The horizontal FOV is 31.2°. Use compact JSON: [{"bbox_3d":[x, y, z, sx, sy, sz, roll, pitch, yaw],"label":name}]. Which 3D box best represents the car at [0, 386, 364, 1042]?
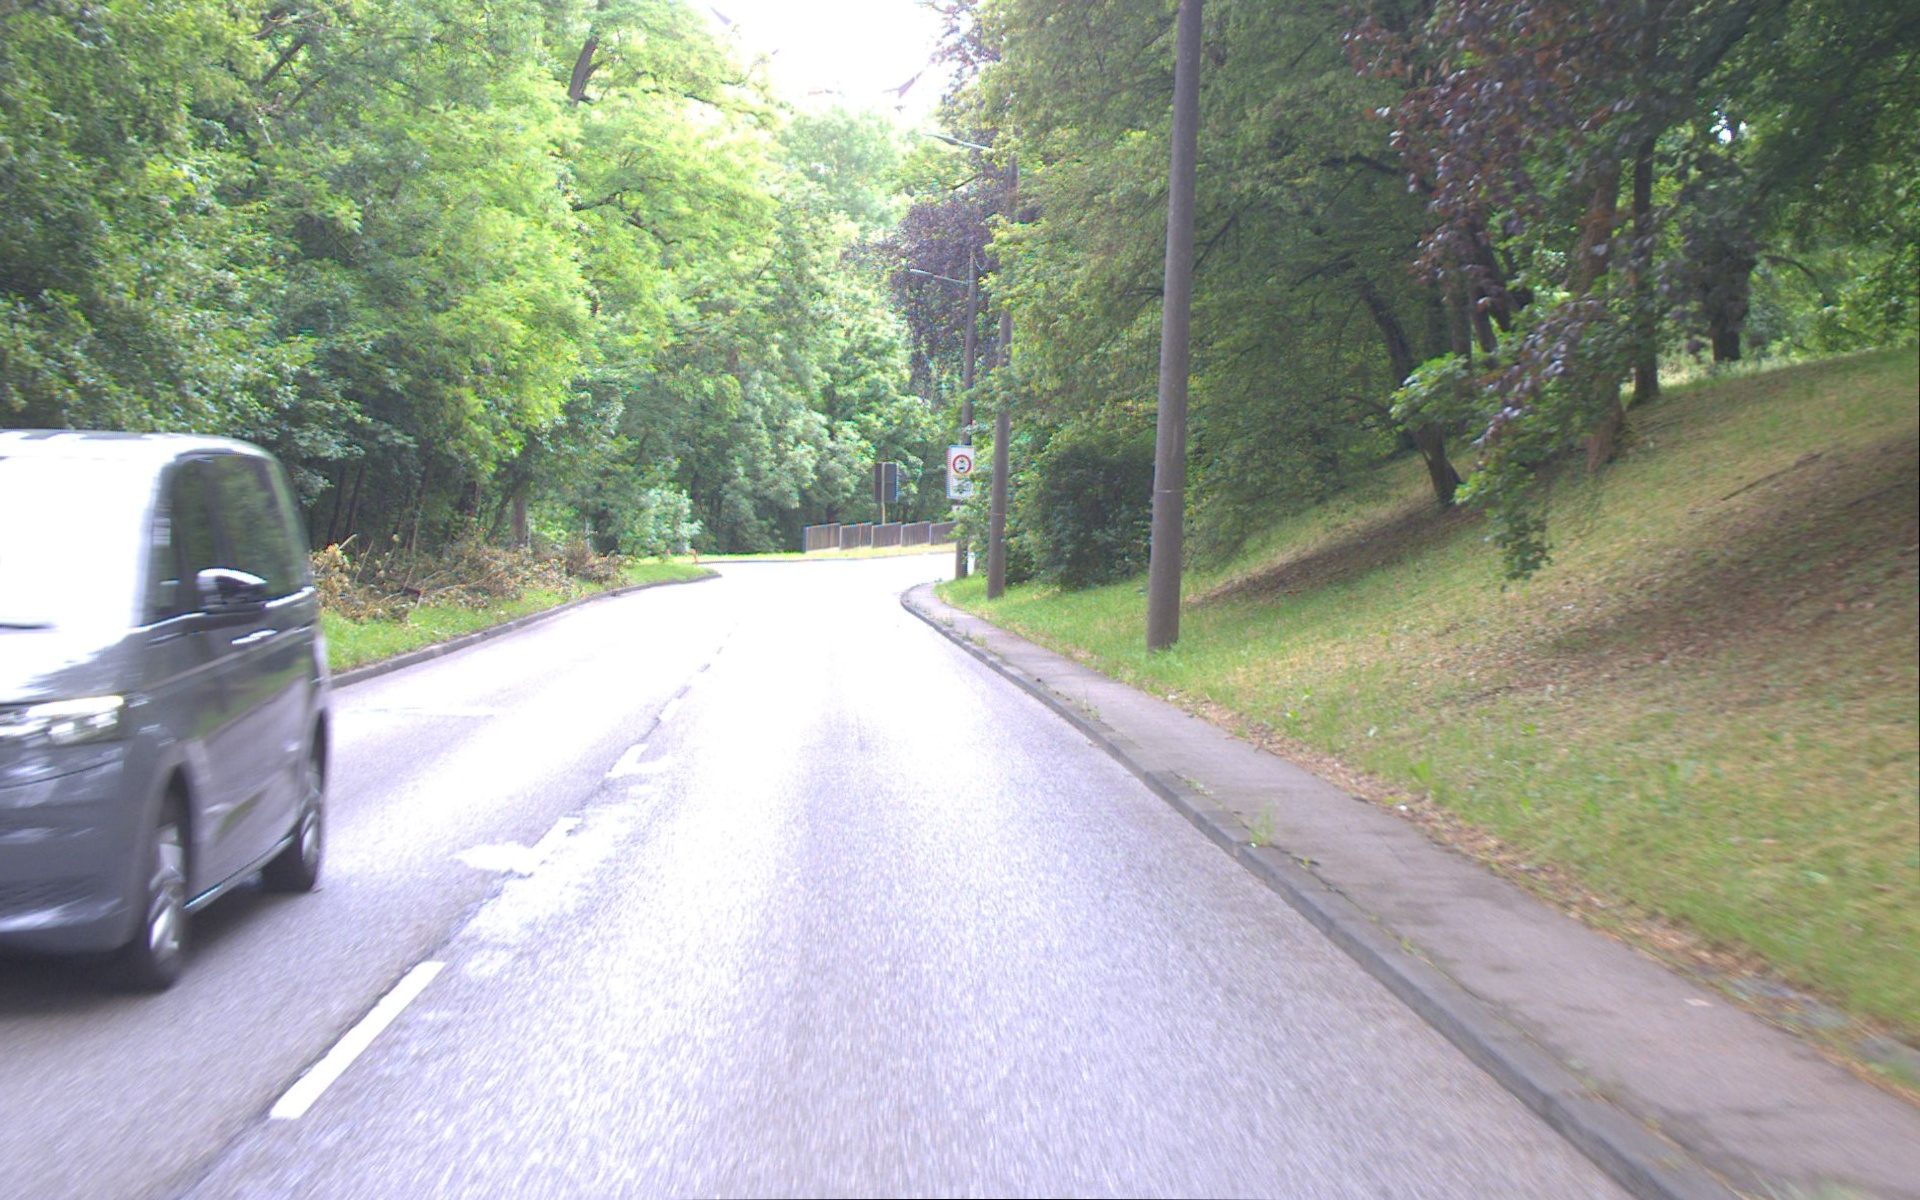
[{"bbox_3d":[-3.535,0.287,12.640,1.993,1.941,4.946,1,1,-2],"label":"car"}]
